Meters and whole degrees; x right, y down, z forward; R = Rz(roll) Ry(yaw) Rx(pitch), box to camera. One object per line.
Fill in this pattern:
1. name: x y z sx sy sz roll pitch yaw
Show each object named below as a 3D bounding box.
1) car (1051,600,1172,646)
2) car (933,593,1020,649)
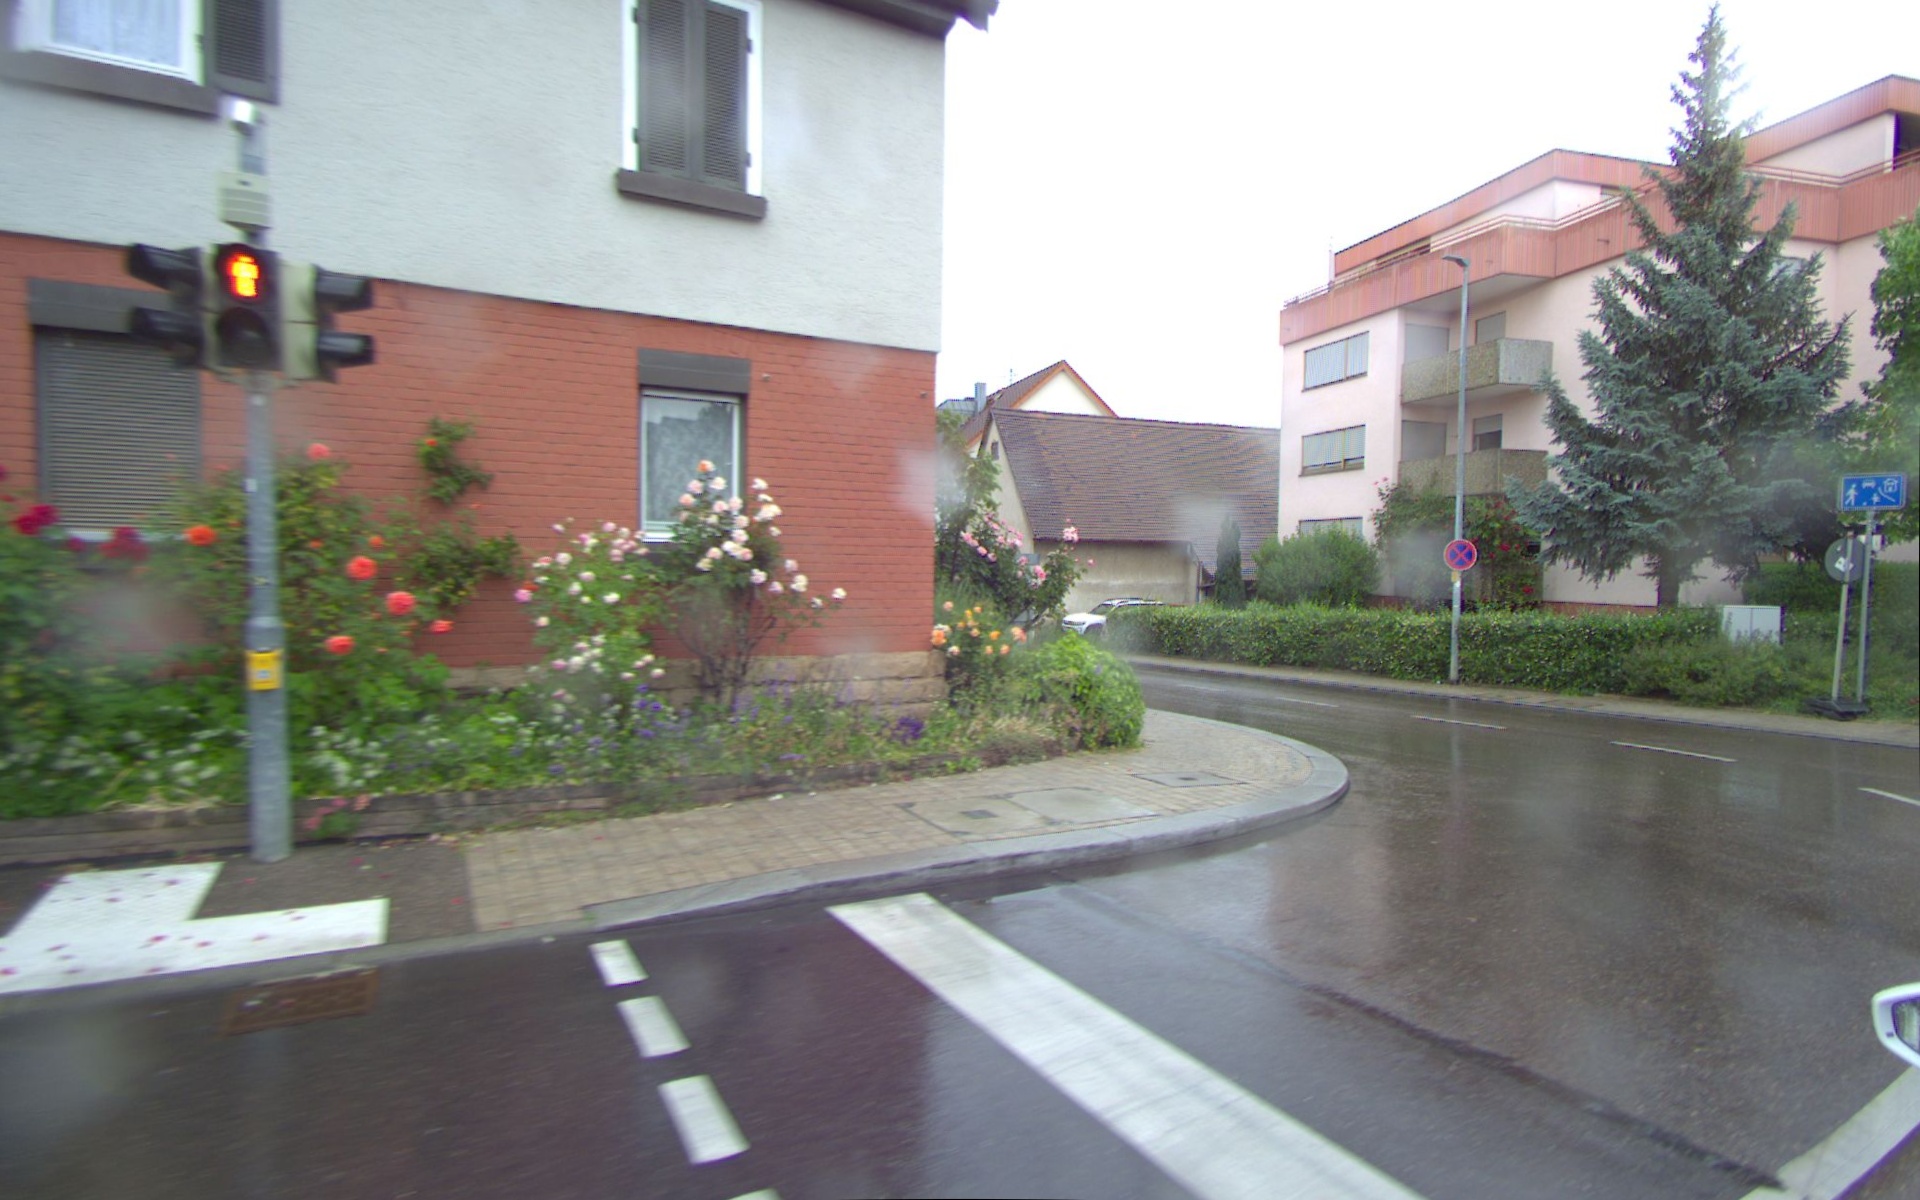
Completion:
1. car: 5.746 0.832 38.275 4.160 1.671 1.897 0 1 -15
2. car: 0.515 0.709 36.052 2.164 1.876 4.292 0 0 -14
